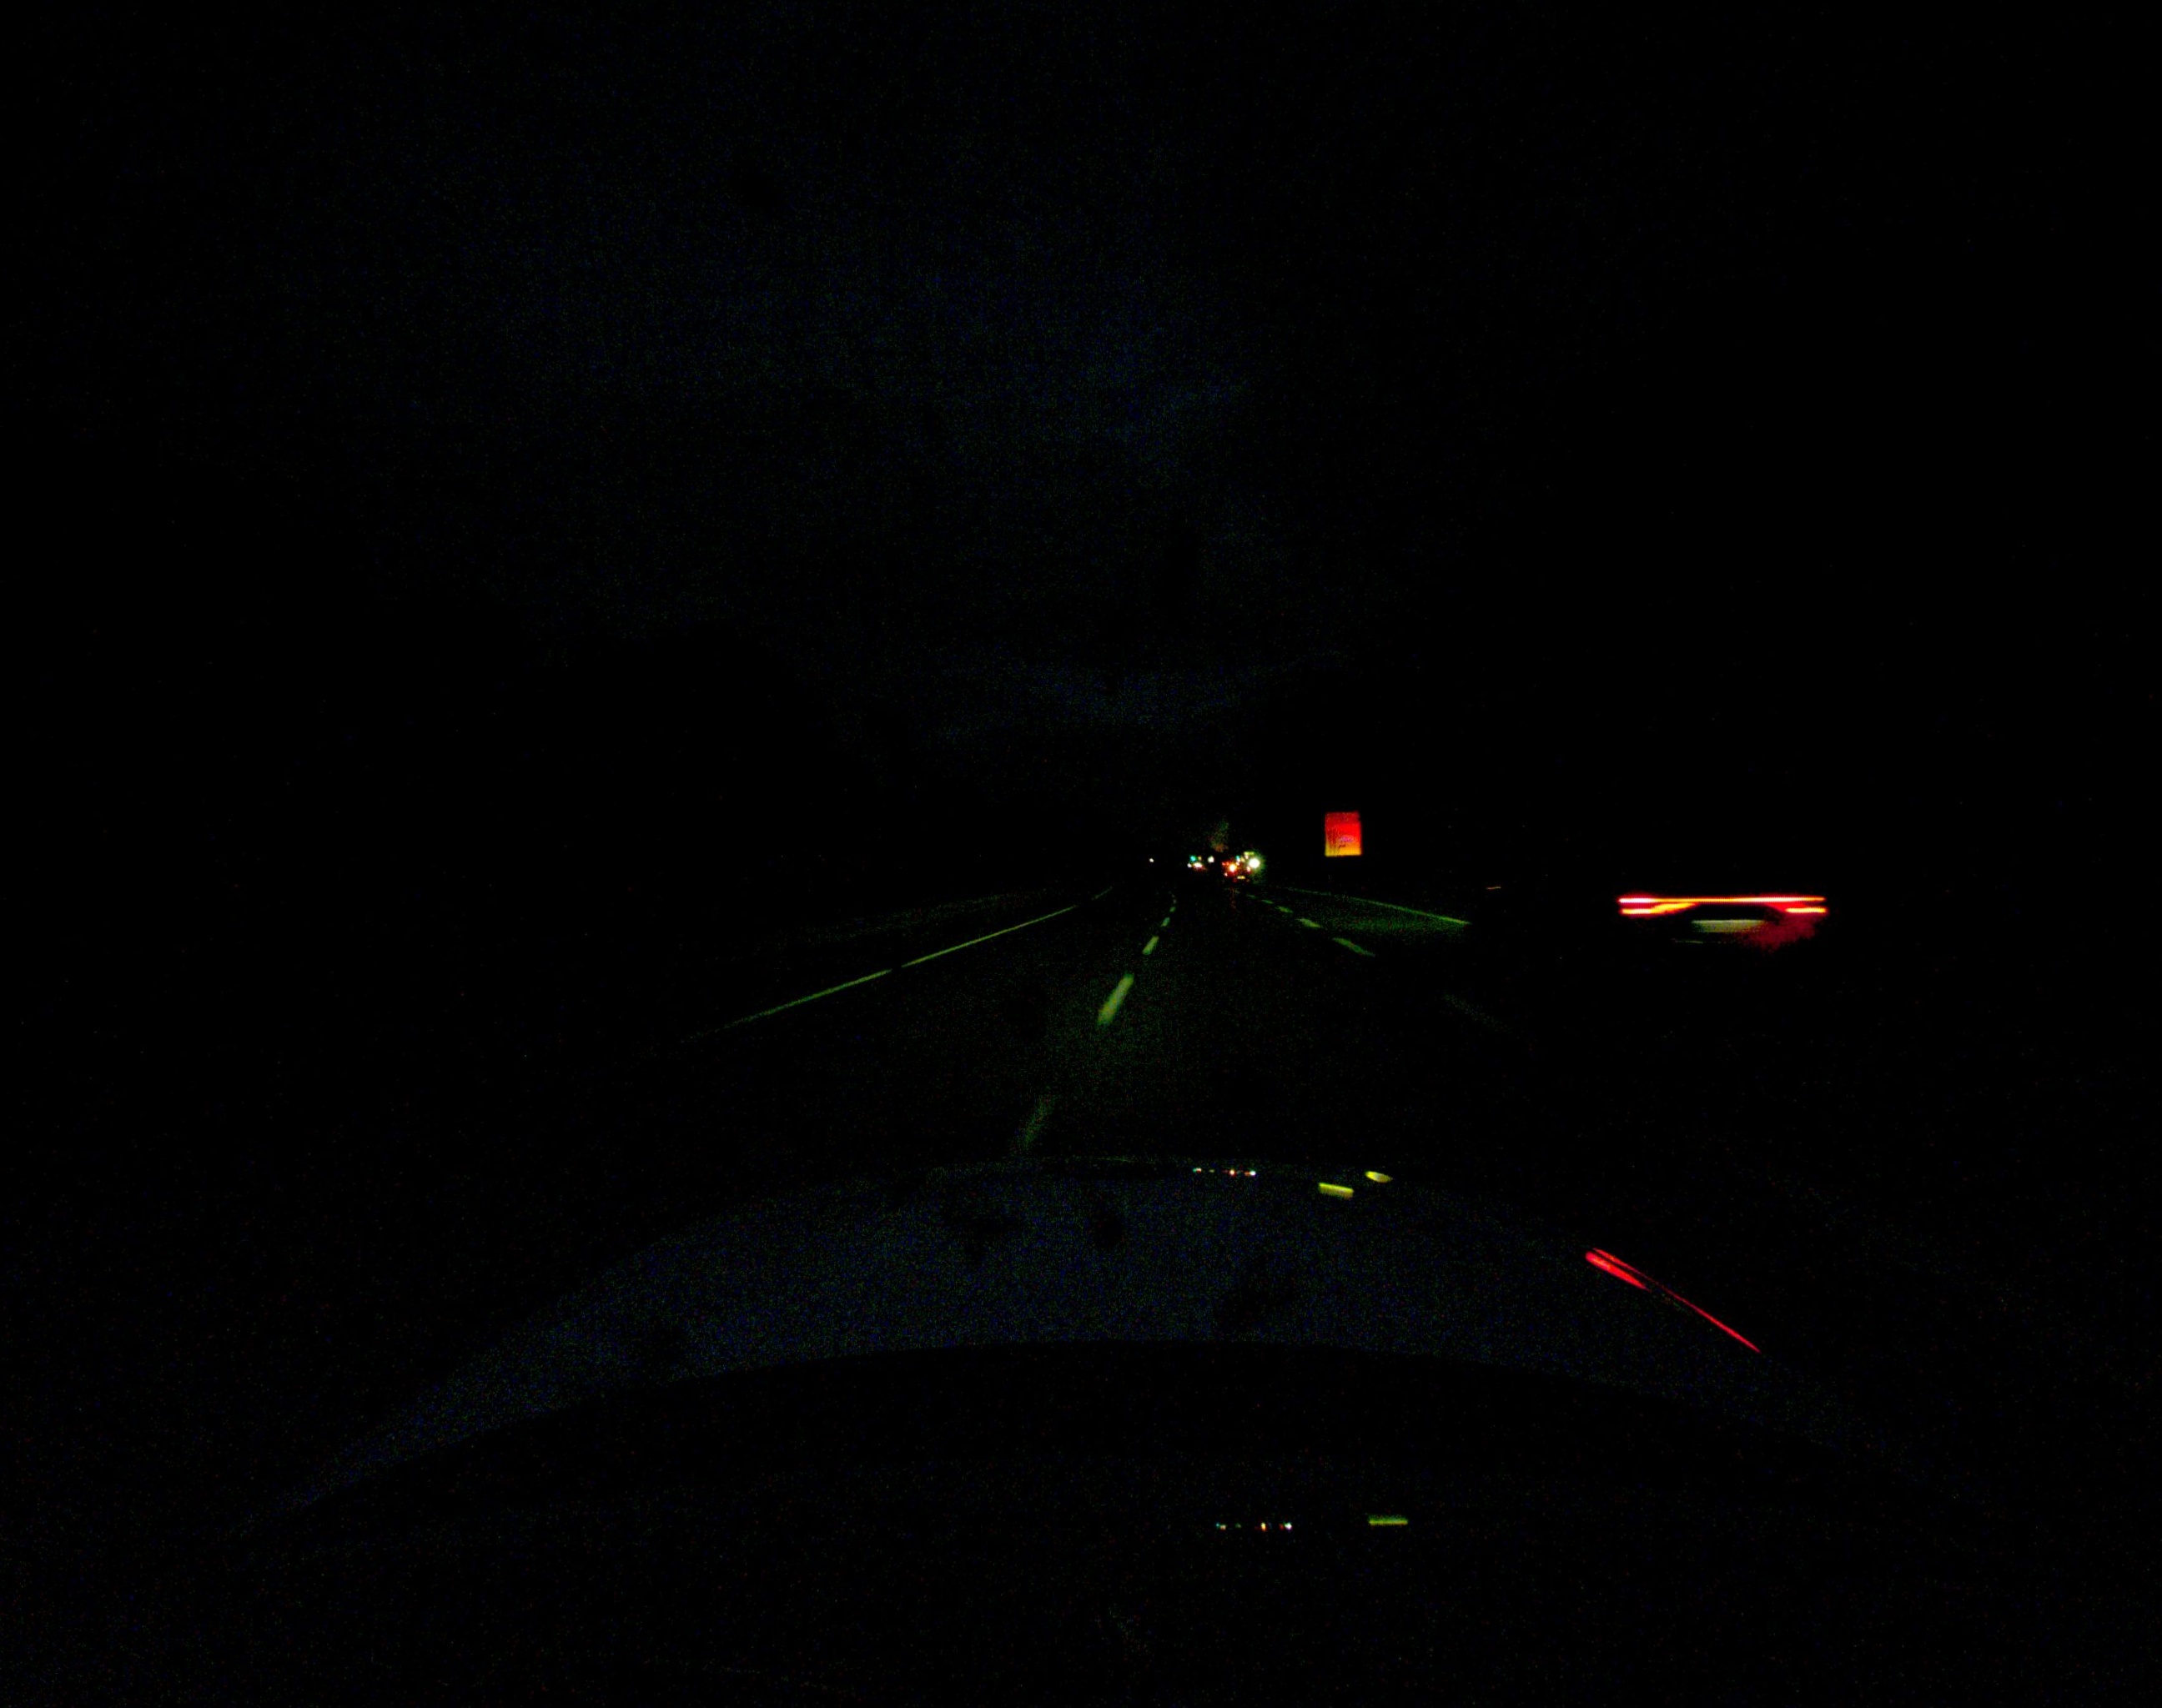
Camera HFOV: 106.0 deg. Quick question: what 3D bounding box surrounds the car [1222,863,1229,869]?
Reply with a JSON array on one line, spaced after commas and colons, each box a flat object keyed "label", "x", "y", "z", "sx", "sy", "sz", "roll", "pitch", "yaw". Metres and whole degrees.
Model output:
[{"label": "car", "x": 43.618, "y": 3.589, "z": 245.723, "sx": 1.981, "sy": 1.750, "sz": 4.010, "roll": -5, "pitch": -3, "yaw": 10}]

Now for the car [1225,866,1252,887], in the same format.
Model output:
[{"label": "car", "x": 11.591, "y": 1.632, "z": 60.129, "sx": 1.743, "sy": 1.453, "sz": 4.443, "roll": -1, "pitch": -1, "yaw": 9}]

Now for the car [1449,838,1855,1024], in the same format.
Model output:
[{"label": "car", "x": 6.045, "y": 0.724, "z": 9.466, "sx": 1.891, "sy": 1.620, "sz": 4.564, "roll": -1, "pitch": -1, "yaw": 7}]
